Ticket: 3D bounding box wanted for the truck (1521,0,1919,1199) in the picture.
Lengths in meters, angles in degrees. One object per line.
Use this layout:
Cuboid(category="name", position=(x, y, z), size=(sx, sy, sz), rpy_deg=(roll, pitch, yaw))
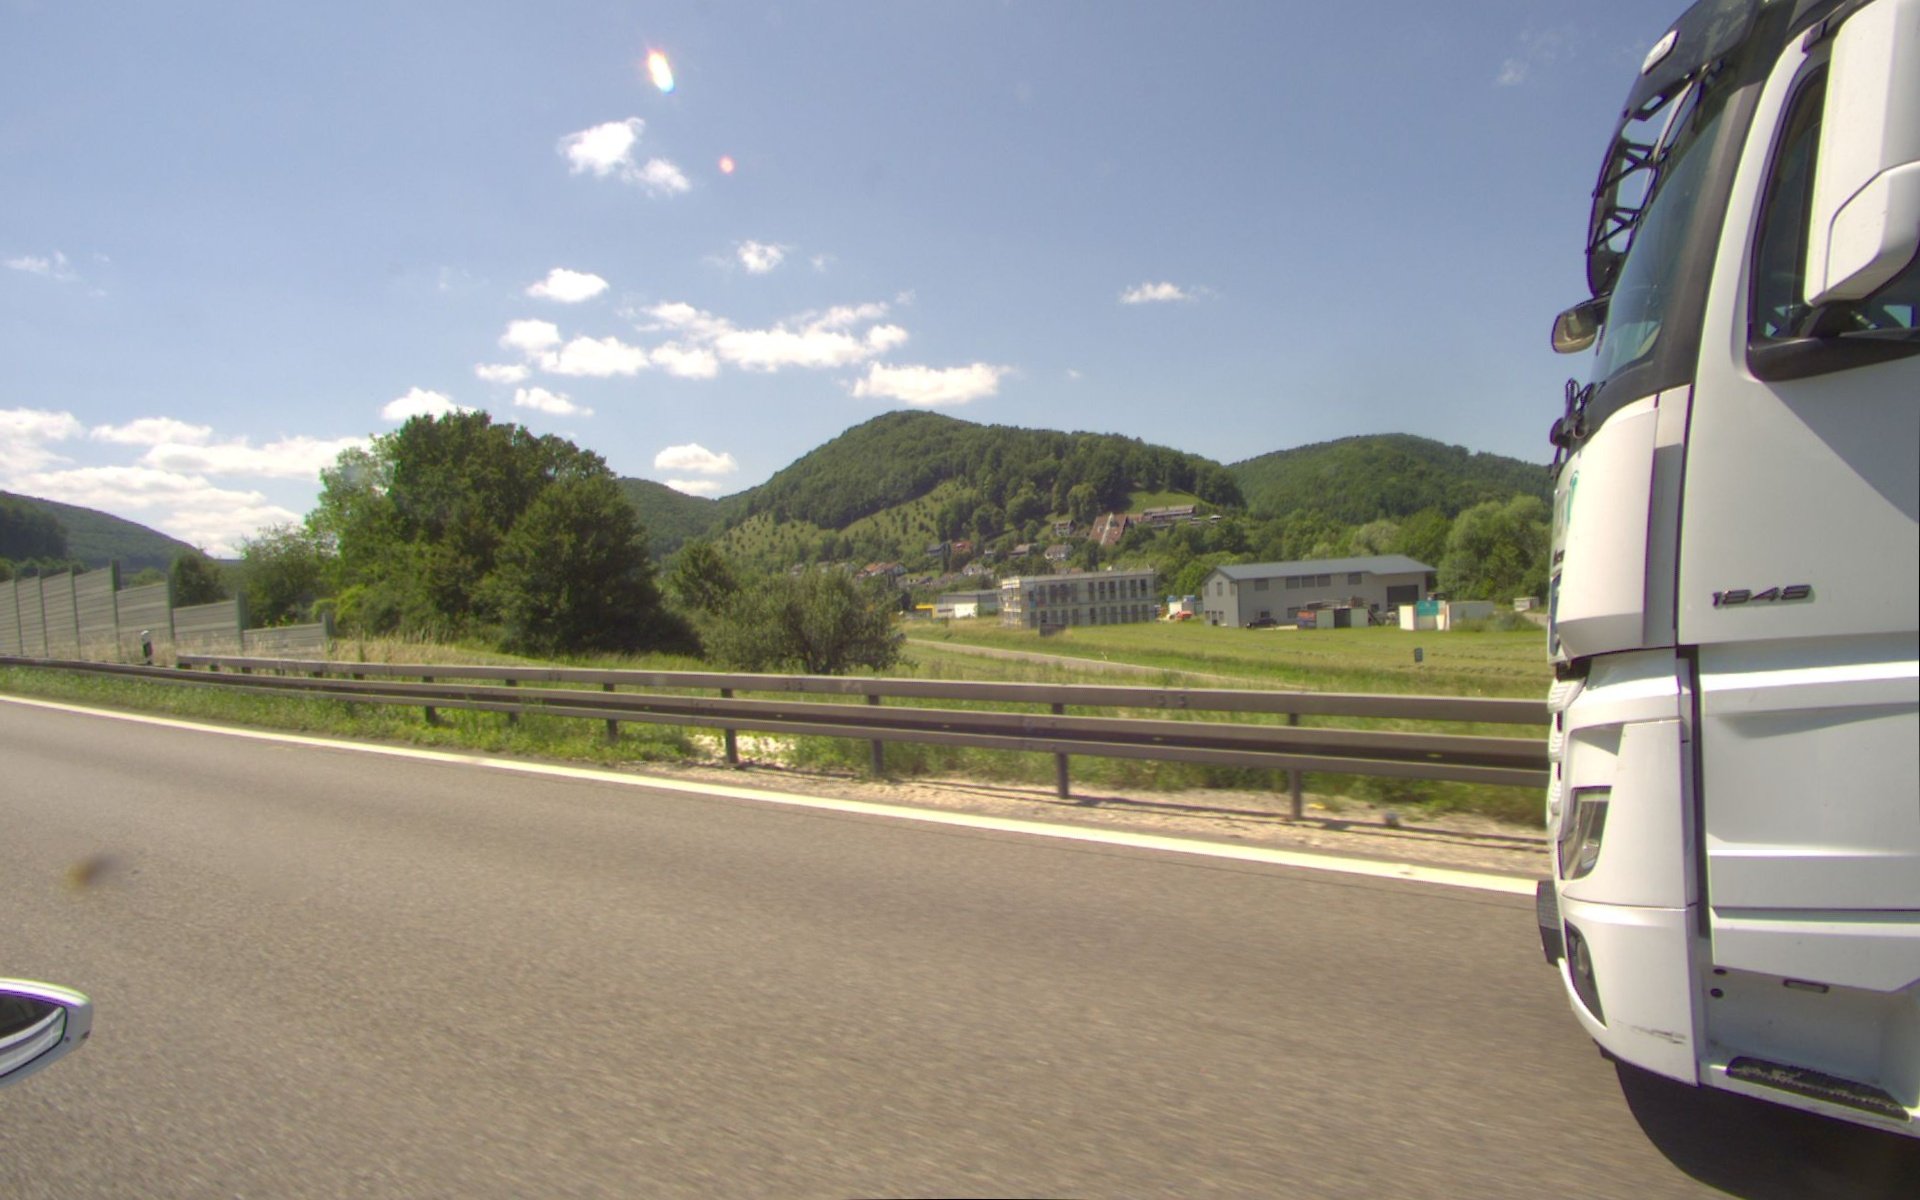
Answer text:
Cuboid(category="truck", position=(4.606, -0.563, 2.358), size=(5.668, 4.120, 2.716), rpy_deg=(-1, -1, 30))
